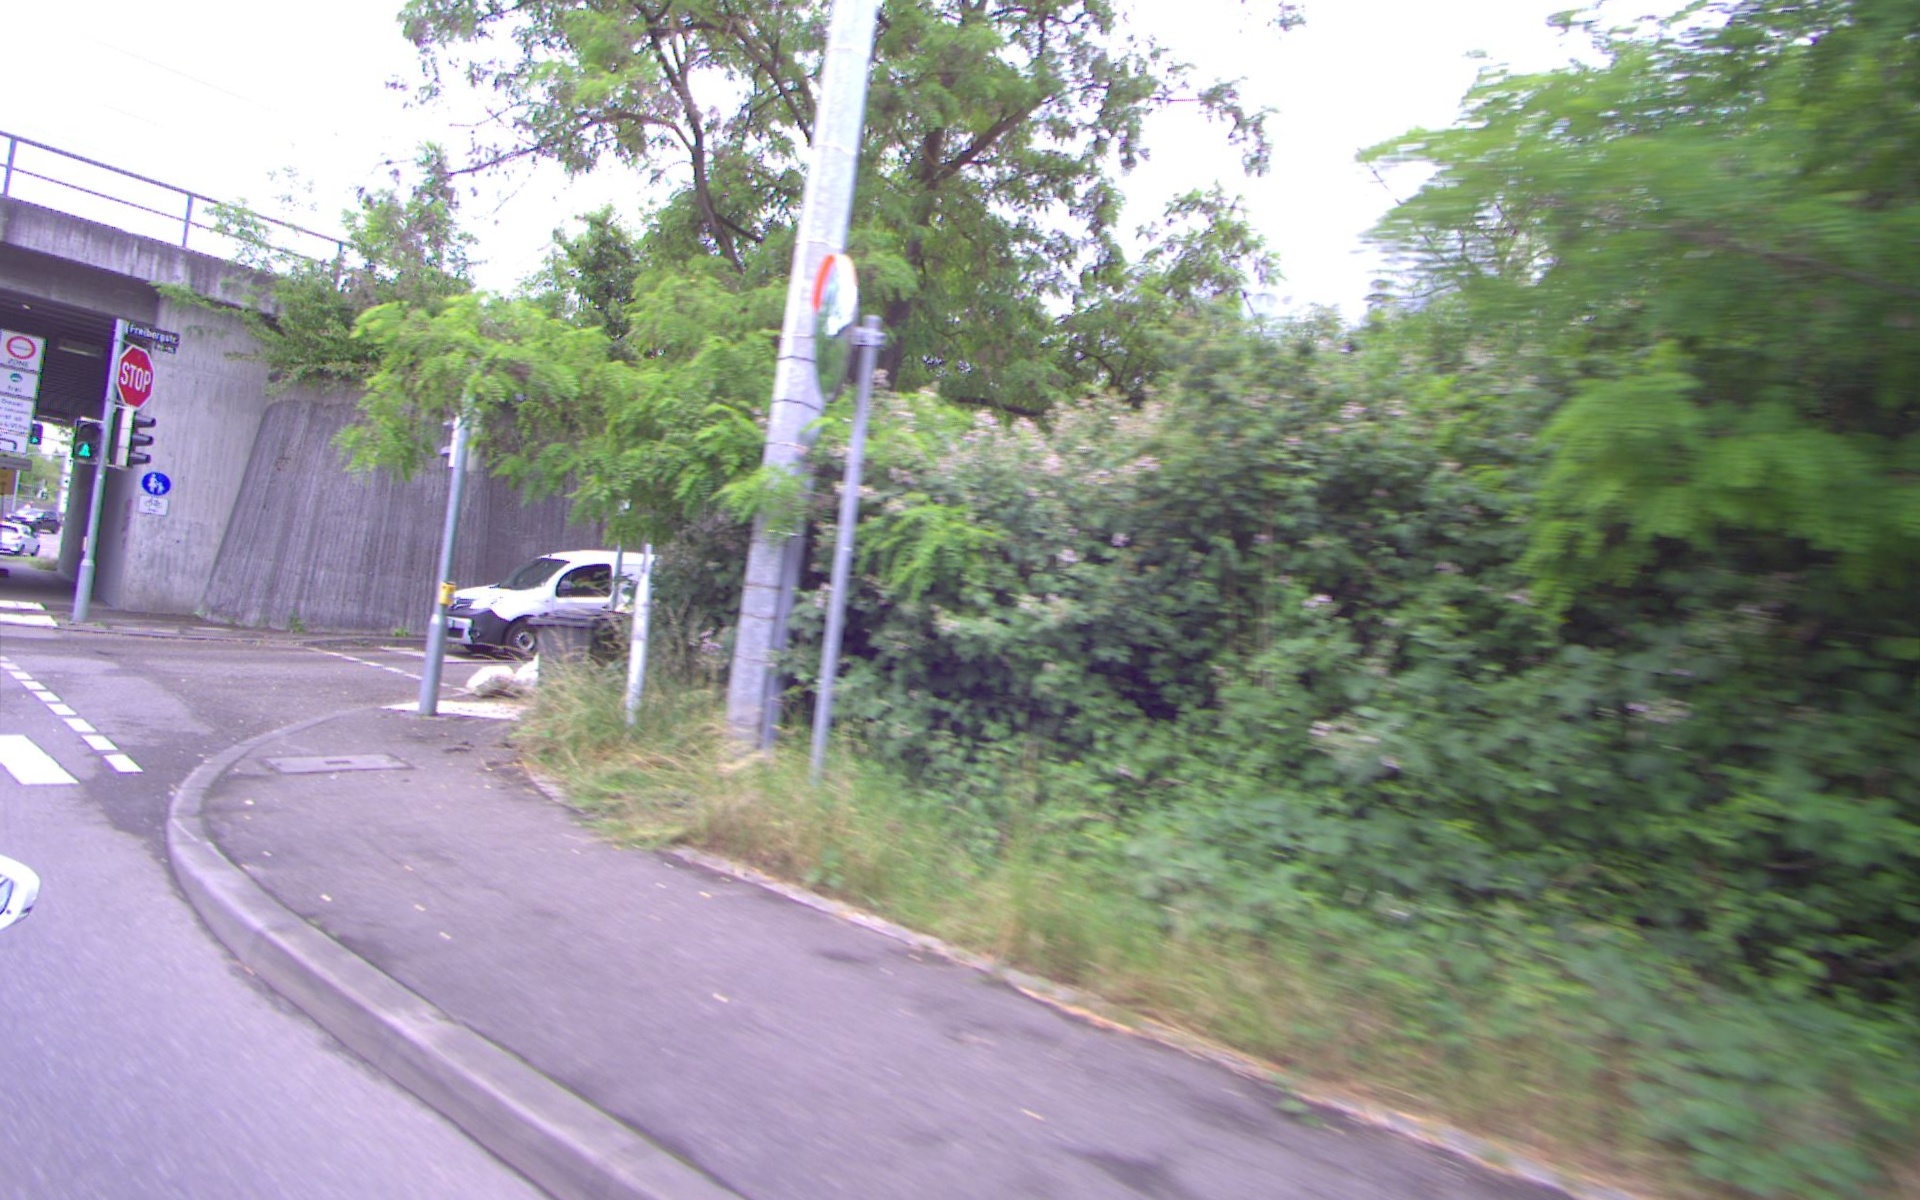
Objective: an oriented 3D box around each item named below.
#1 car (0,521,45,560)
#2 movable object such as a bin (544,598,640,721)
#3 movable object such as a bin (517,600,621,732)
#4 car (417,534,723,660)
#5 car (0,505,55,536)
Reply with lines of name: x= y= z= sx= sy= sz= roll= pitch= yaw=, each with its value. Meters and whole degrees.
car: x=-44.465 y=-2.811 z=46.828 sx=1.982 sy=1.636 sz=3.966 roll=9 pitch=-3 yaw=-33
movable object such as a bin: x=-3.705 y=0.597 z=10.173 sx=0.633 sy=1.128 sz=0.576 roll=7 pitch=-1 yaw=-2
movable object such as a bin: x=-3.666 y=0.614 z=9.476 sx=0.633 sy=1.128 sz=0.576 roll=7 pitch=-1 yaw=-2
car: x=-6.443 y=0.027 z=17.056 sx=1.802 sy=1.807 sz=4.472 roll=3 pitch=-1 yaw=40
car: x=-67.515 y=-5.732 z=72.735 sx=1.978 sy=1.717 sz=4.140 roll=8 pitch=-3 yaw=-28
